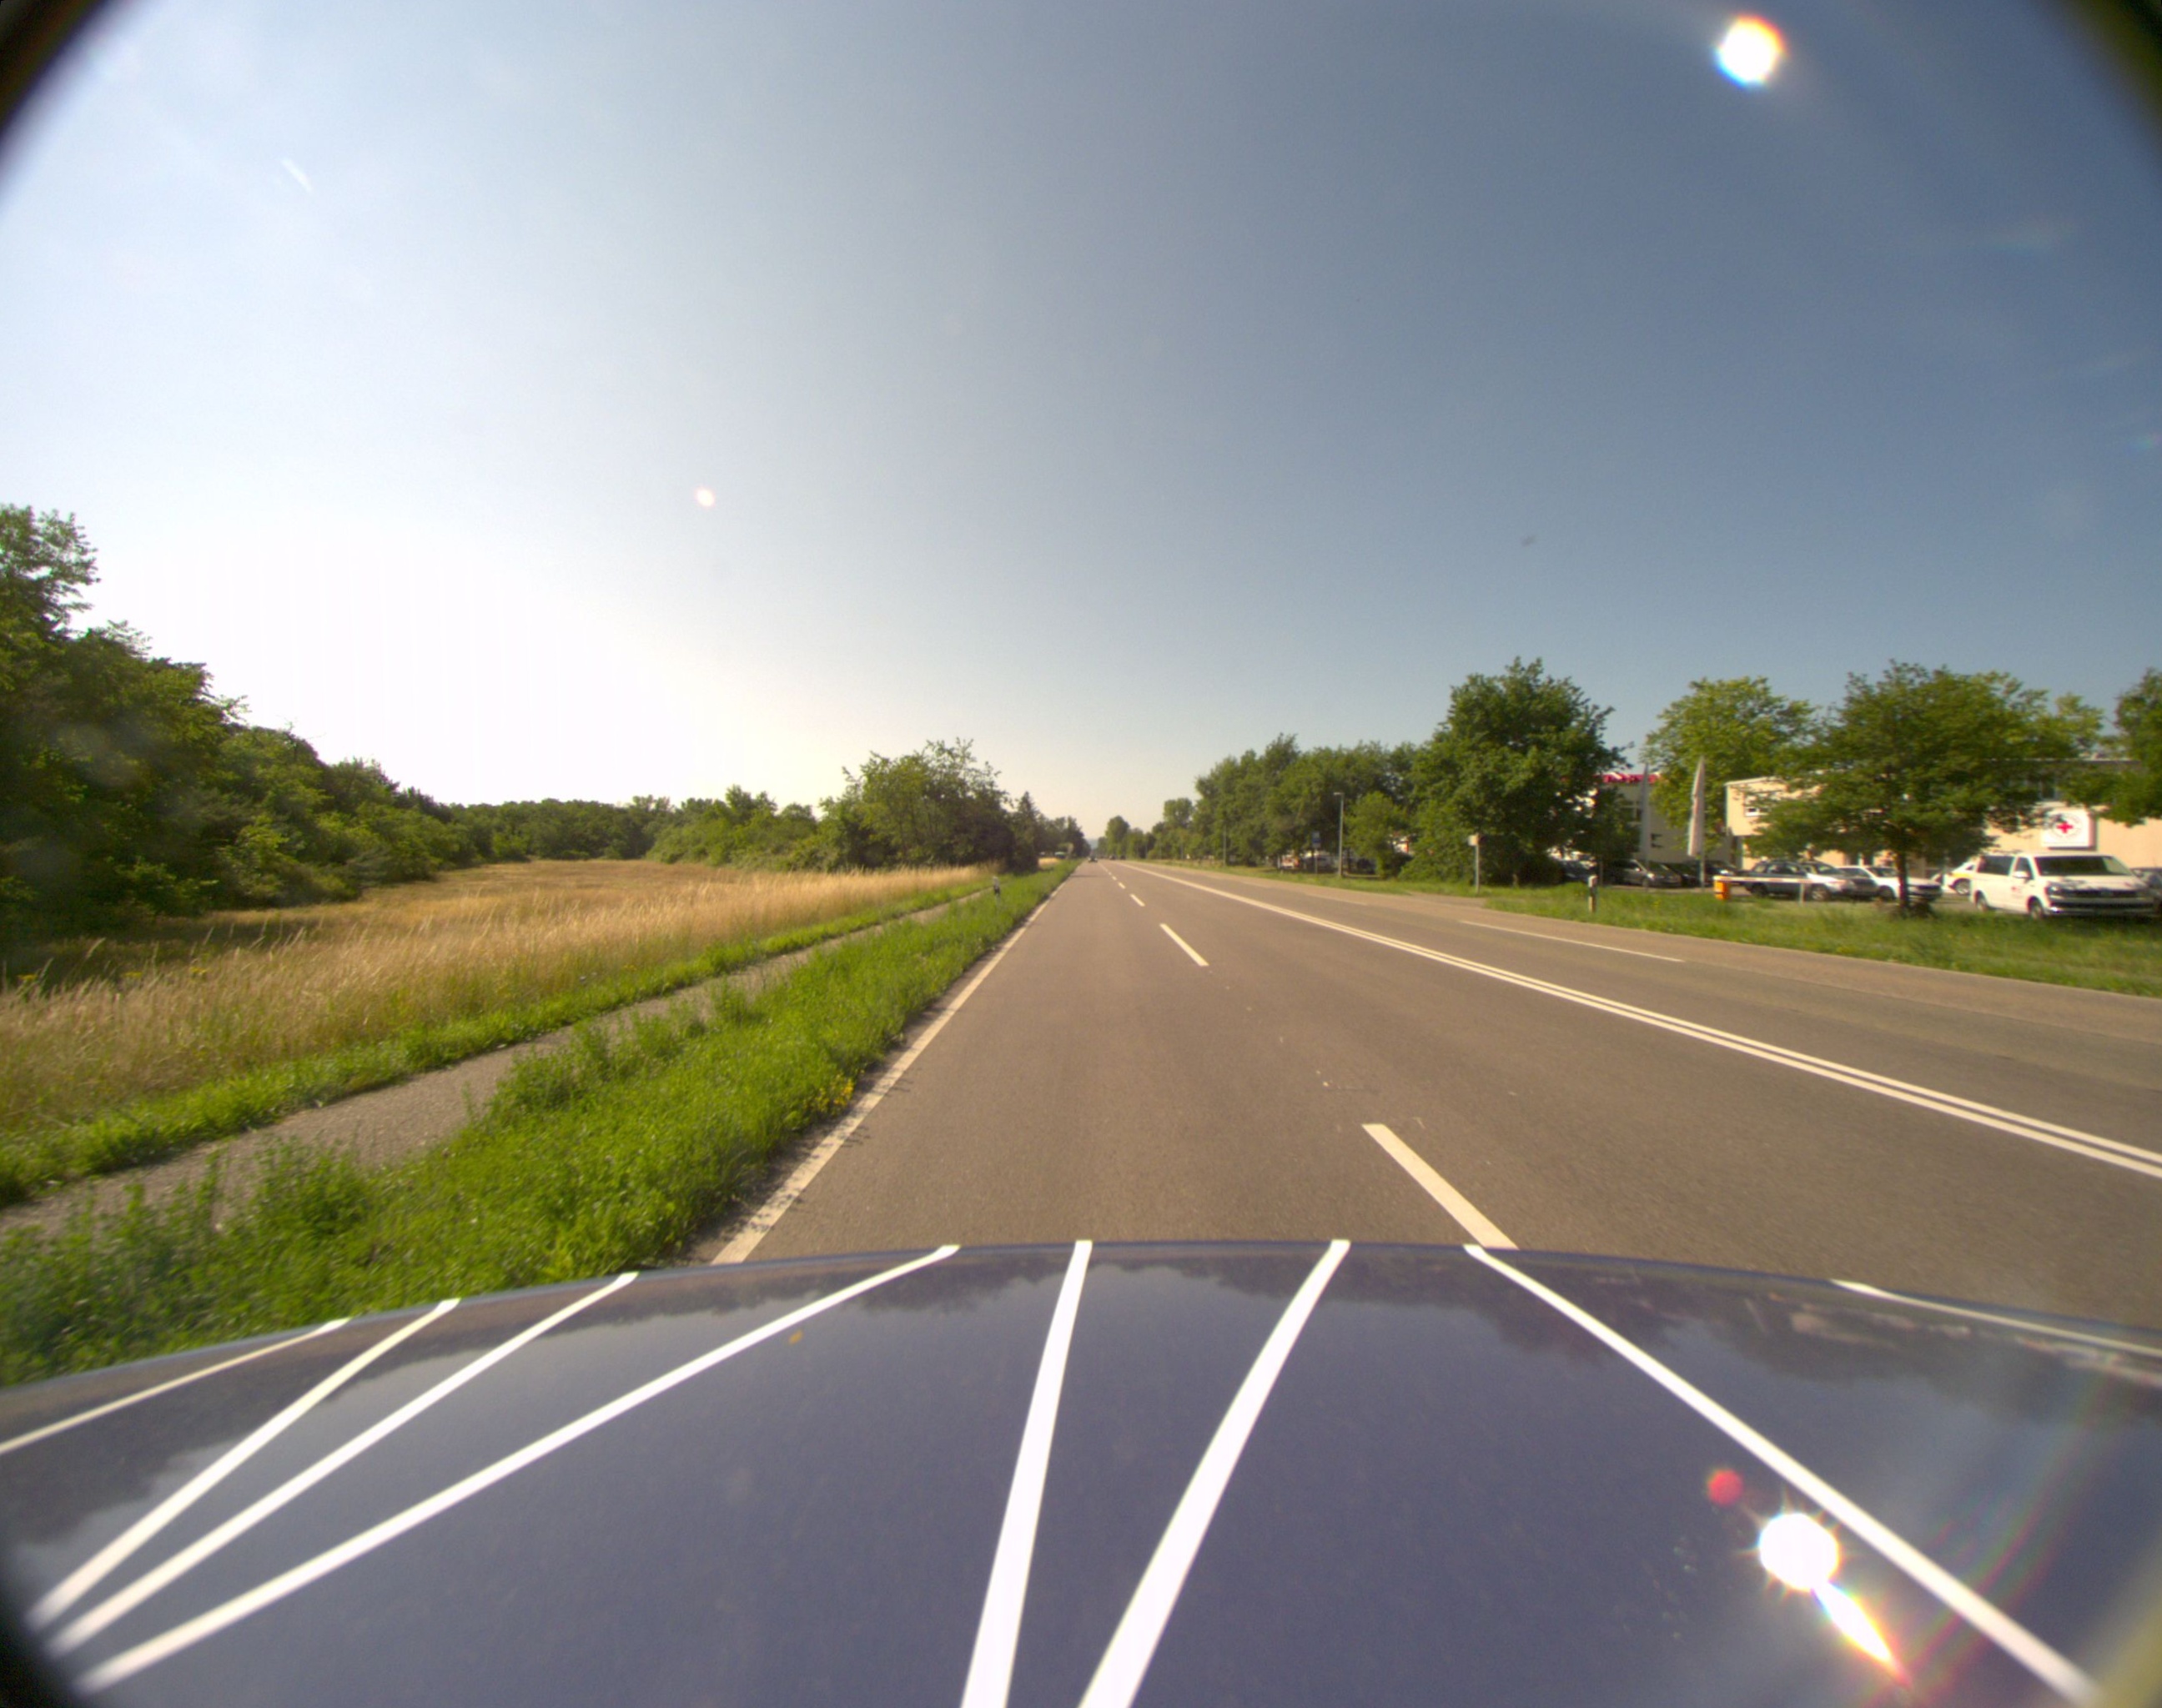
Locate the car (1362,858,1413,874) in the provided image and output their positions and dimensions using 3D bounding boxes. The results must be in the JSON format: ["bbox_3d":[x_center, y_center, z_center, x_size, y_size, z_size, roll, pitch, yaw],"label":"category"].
[{"bbox_3d":[30.846,1.165,76.555,4.361,1.318,1.857,3,1,0],"label":"car"}]

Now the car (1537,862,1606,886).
[{"bbox_3d":[30.248,1.206,46.991,1.676,1.342,4.000,0,0,1],"label":"car"}]

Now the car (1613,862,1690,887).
[{"bbox_3d":[34.498,1.208,46.083,1.676,1.342,4.000,0,0,1],"label":"car"}]

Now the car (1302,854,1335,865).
[{"bbox_3d":[32.086,0.712,102.791,3.997,1.492,1.757,0,0,0],"label":"car"}]

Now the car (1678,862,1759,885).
[{"bbox_3d":[39.368,1.187,47.049,1.676,1.342,4.000,0,0,1],"label":"car"}]

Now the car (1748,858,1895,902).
[{"bbox_3d":[30.288,1.014,31.276,1.934,1.642,4.191,0,0,-1],"label":"car"}]

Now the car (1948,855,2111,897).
[{"bbox_3d":[40.795,0.893,32.855,1.861,1.648,4.168,0,0,1],"label":"car"}]

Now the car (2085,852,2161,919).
[{"bbox_3d":[31.236,0.881,21.274,2.068,1.796,5.025,0,1,31],"label":"car"}]

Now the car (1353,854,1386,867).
[{"bbox_3d":[32.913,0.711,86.777,1.792,1.342,4.662,1,0,-2],"label":"car"}]

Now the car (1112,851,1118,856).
[{"bbox_3d":[10.210,-0.076,227.513,1.520,1.442,3.775,2,0,1],"label":"car"}]

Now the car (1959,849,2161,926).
[{"bbox_3d":[27.693,0.828,21.627,2.068,1.918,5.025,0,1,31],"label":"car"}]

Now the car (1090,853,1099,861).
[{"bbox_3d":[2.732,0.599,151.279,1.768,1.403,4.001,0,-1,2],"label":"car"}]

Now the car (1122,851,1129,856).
[{"bbox_3d":[13.657,-0.139,232.925,1.830,1.662,4.389,2,0,0],"label":"car"}]

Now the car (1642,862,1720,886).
[{"bbox_3d":[36.958,1.187,46.941,1.676,1.342,4.000,0,0,1],"label":"car"}]

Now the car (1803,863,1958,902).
[{"bbox_3d":[32.624,1.116,31.218,1.934,1.386,4.191,0,0,-1],"label":"car"}]
